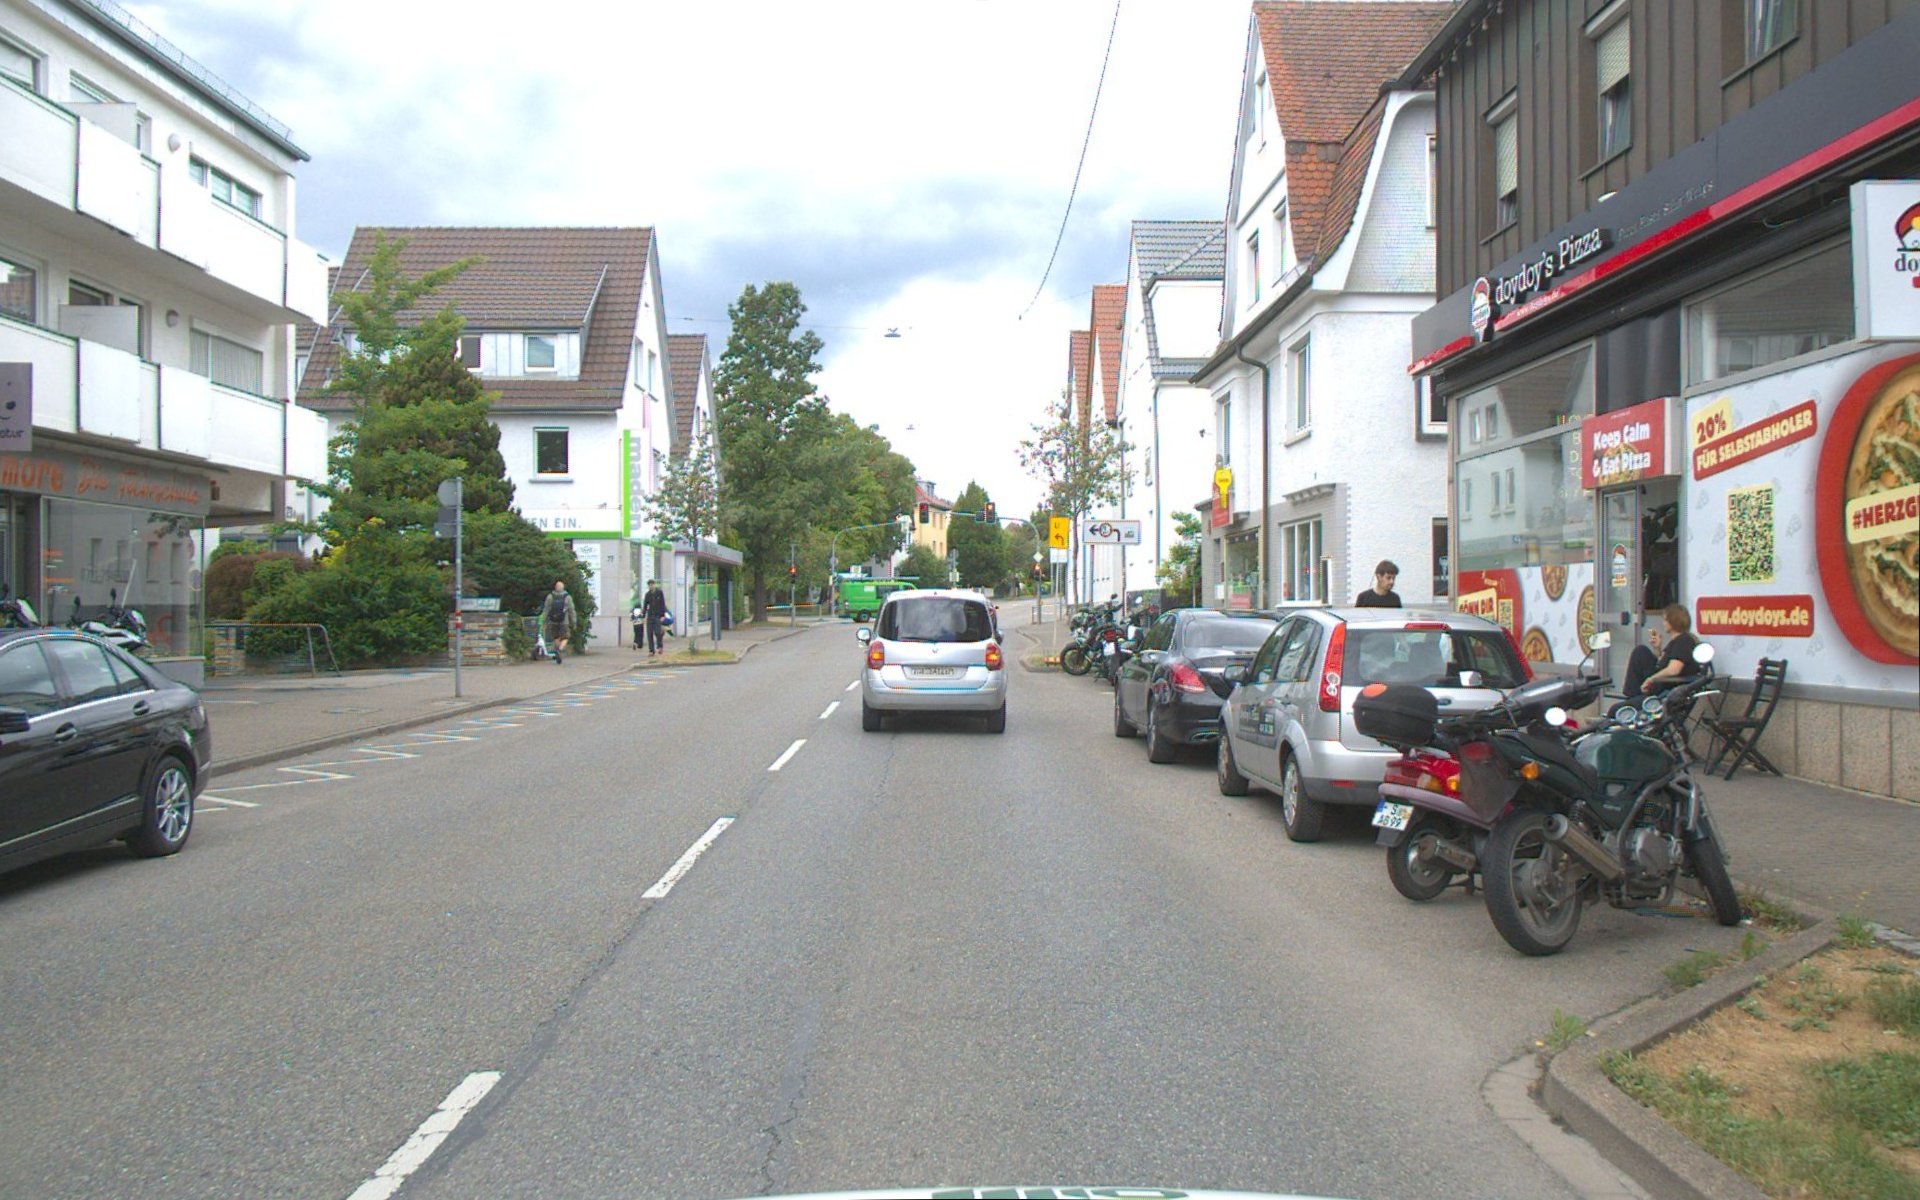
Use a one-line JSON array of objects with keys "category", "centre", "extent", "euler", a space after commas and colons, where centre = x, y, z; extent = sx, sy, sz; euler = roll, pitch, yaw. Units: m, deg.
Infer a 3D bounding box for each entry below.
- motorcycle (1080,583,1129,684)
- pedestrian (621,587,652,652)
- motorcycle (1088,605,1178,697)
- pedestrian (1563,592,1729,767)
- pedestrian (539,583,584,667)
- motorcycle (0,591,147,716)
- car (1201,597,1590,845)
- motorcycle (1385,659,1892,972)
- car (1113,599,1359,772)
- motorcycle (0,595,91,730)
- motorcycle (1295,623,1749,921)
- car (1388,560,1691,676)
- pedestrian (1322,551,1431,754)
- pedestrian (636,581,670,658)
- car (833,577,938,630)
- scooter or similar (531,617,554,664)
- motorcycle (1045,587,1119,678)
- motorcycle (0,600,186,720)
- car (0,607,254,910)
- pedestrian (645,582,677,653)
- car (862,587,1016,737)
[{"category": "motorcycle", "centre": [2.536, 0.567, 28.926], "extent": [0.683, 1.667, 2.411], "euler": [1, 0, 9]}, {"category": "pedestrian", "centre": [-8.943, 0.530, 45.770], "extent": [0.702, 1.787, 0.695], "euler": [1, -1, -1]}, {"category": "motorcycle", "centre": [2.886, 0.808, 27.309], "extent": [0.684, 1.434, 2.715], "euler": [0, 0, 23]}, {"category": "pedestrian", "centre": [5.598, 0.633, 13.557], "extent": [0.869, 1.323, 0.966], "euler": [-4, 0, -1]}, {"category": "pedestrian", "centre": [-8.765, 0.547, 36.401], "extent": [0.747, 1.823, 0.889], "euler": [1, -1, -1]}, {"category": "motorcycle", "centre": [-11.087, 0.614, 19.410], "extent": [2.658, 1.434, 0.698], "euler": [1, -1, -11]}, {"category": "car", "centre": [2.871, 0.729, 11.760], "extent": [1.666, 1.455, 3.889], "euler": [1, 0, -1]}, {"category": "motorcycle", "centre": [3.169, 0.889, 7.570], "extent": [2.701, 1.204, 0.693], "euler": [1, -1, -32]}, {"category": "car", "centre": [2.609, 0.759, 16.567], "extent": [1.666, 1.493, 4.237], "euler": [1, 0, -1]}, {"category": "motorcycle", "centre": [-10.933, 0.655, 17.812], "extent": [2.658, 1.434, 0.698], "euler": [1, -1, -11]}, {"category": "motorcycle", "centre": [2.982, 0.814, 8.613], "extent": [2.680, 1.359, 0.693], "euler": [1, -1, -32]}, {"category": "car", "centre": [8.515, 0.263, 24.516], "extent": [3.899, 1.593, 1.688], "euler": [1, 0, -1]}, {"category": "pedestrian", "centre": [4.142, 0.515, 16.515], "extent": [0.839, 1.961, 0.899], "euler": [1, -1, -1]}, {"category": "pedestrian", "centre": [-7.751, 0.486, 41.801], "extent": [0.702, 1.909, 0.695], "euler": [1, -1, -1]}, {"category": "car", "centre": [-4.375, 0.223, 96.796], "extent": [5.829, 2.958, 2.246], "euler": [1, 0, -14]}, {"category": "scooter or similar", "centre": [-9.512, 0.910, 37.682], "extent": [0.366, 1.053, 0.559], "euler": [-1, 0, -1]}, {"category": "motorcycle", "centre": [2.315, 0.610, 31.642], "extent": [0.686, 1.667, 2.400], "euler": [1, 0, -14]}, {"category": "motorcycle", "centre": [-11.001, 0.727, 20.237], "extent": [2.658, 1.434, 0.698], "euler": [1, -1, -11]}, {"category": "car", "centre": [-5.718, 0.826, 8.850], "extent": [1.909, 1.493, 4.515], "euler": [-2, 0, 0]}, {"category": "pedestrian", "centre": [-8.205, 0.475, 45.436], "extent": [0.746, 1.909, 0.695], "euler": [1, -1, -1]}, {"category": "car", "centre": [-0.235, 0.676, 19.932], "extent": [1.648, 1.593, 3.993], "euler": [1, 0, 0]}]
